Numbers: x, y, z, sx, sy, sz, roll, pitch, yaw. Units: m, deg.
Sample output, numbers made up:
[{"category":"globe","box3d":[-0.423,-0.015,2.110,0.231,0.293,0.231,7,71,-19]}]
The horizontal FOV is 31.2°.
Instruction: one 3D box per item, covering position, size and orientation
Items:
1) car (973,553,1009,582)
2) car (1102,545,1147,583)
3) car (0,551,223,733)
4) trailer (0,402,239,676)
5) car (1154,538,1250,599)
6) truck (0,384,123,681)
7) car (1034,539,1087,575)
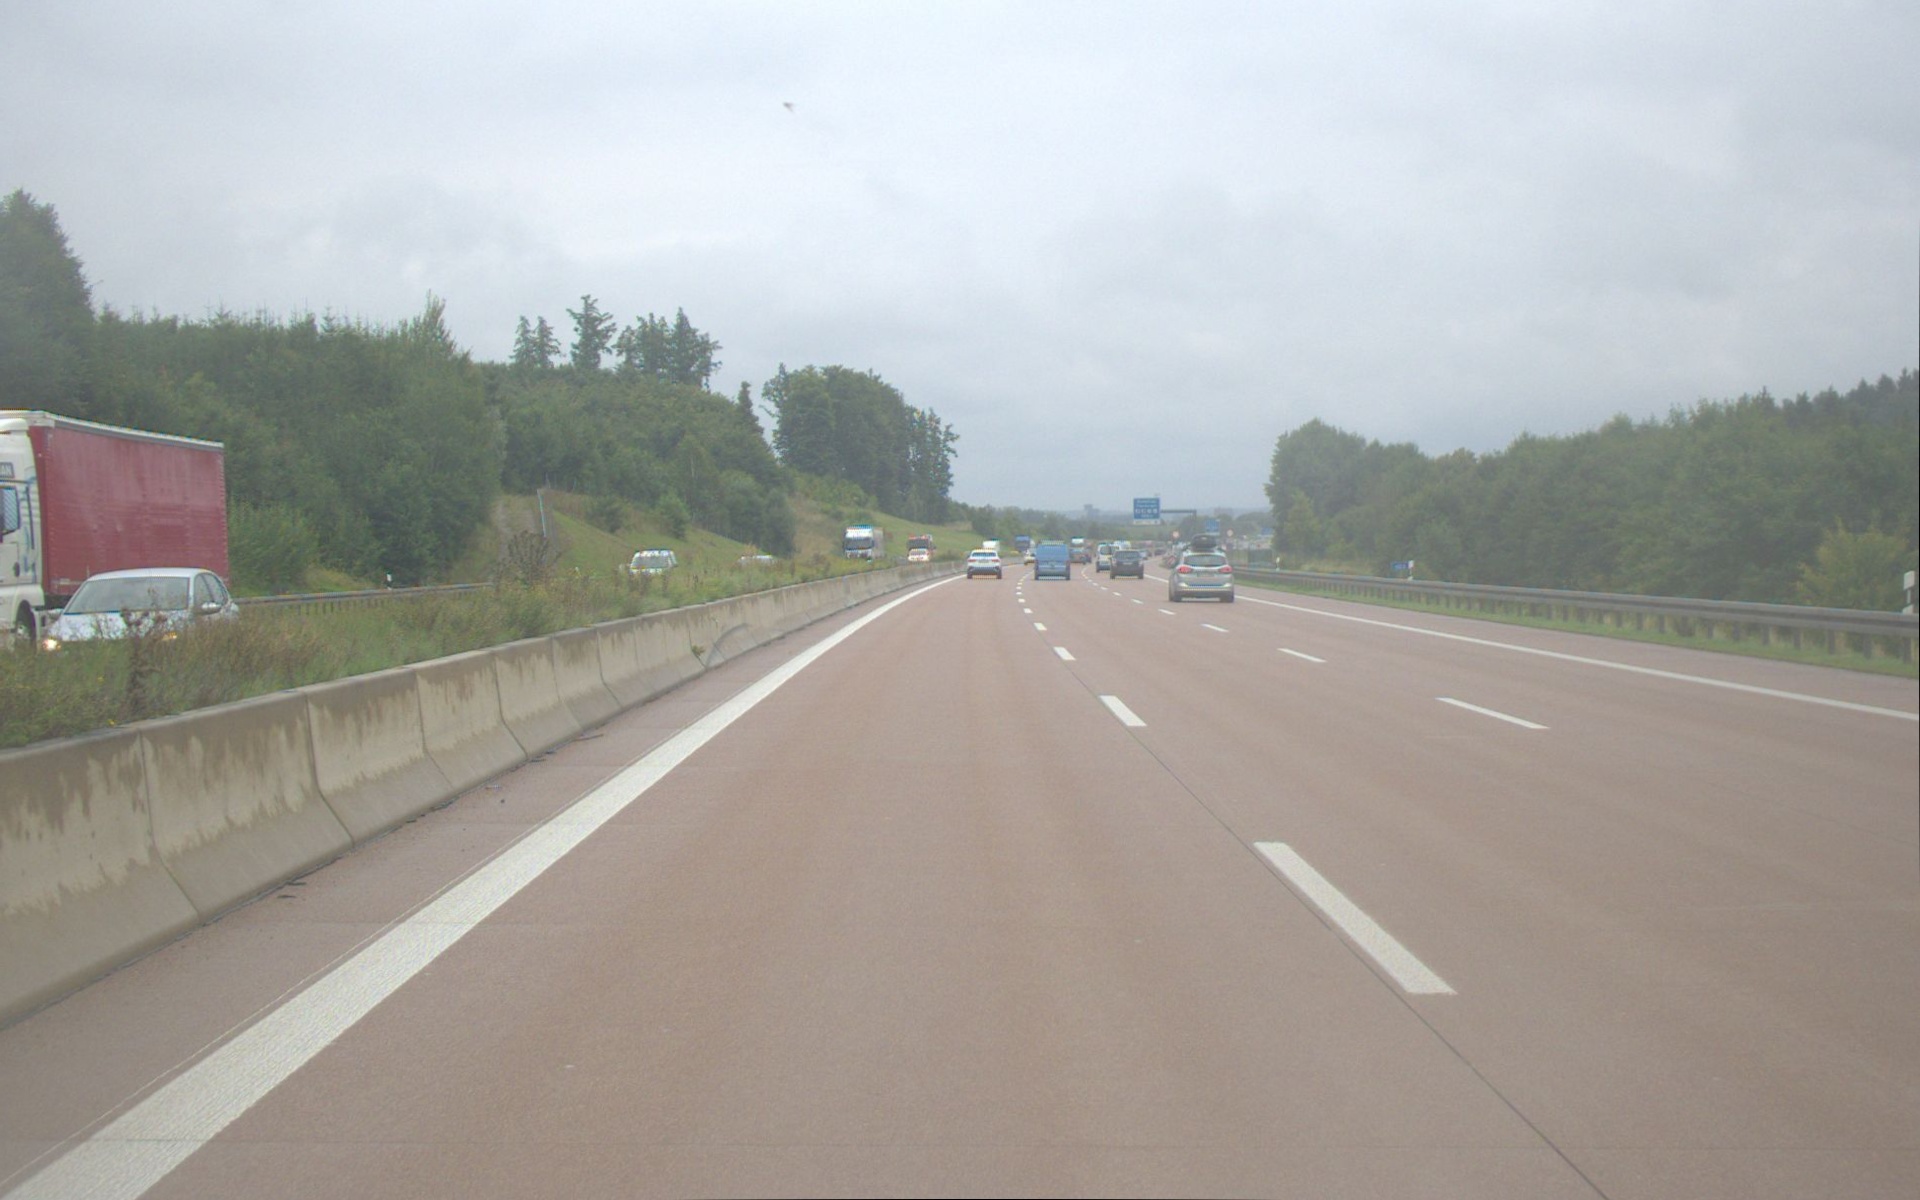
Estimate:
[{"category":"car","box3d":[1.632,-1.732,183.232,1.874,1.439,4.877,1,0,0]},{"category":"car","box3d":[8.980,-1.953,187.758,1.993,2.007,4.000,1,0,-3]},{"category":"car","box3d":[-9.045,0.422,36.331,1.702,1.779,4.414,1,0,-2]},{"category":"trailer","box3d":[-15.771,-0.996,62.223,2.941,4.473,11.775,1,0,0]},{"category":"car","box3d":[7.307,-0.927,104.300,2.322,1.744,4.877,1,0,-3]},{"category":"truck","box3d":[-15.696,-1.028,54.924,2.950,4.462,6.792,1,0,0]},{"category":"car","box3d":[5.224,-2.229,179.446,2.322,1.744,4.877,1,0,-3]}]
